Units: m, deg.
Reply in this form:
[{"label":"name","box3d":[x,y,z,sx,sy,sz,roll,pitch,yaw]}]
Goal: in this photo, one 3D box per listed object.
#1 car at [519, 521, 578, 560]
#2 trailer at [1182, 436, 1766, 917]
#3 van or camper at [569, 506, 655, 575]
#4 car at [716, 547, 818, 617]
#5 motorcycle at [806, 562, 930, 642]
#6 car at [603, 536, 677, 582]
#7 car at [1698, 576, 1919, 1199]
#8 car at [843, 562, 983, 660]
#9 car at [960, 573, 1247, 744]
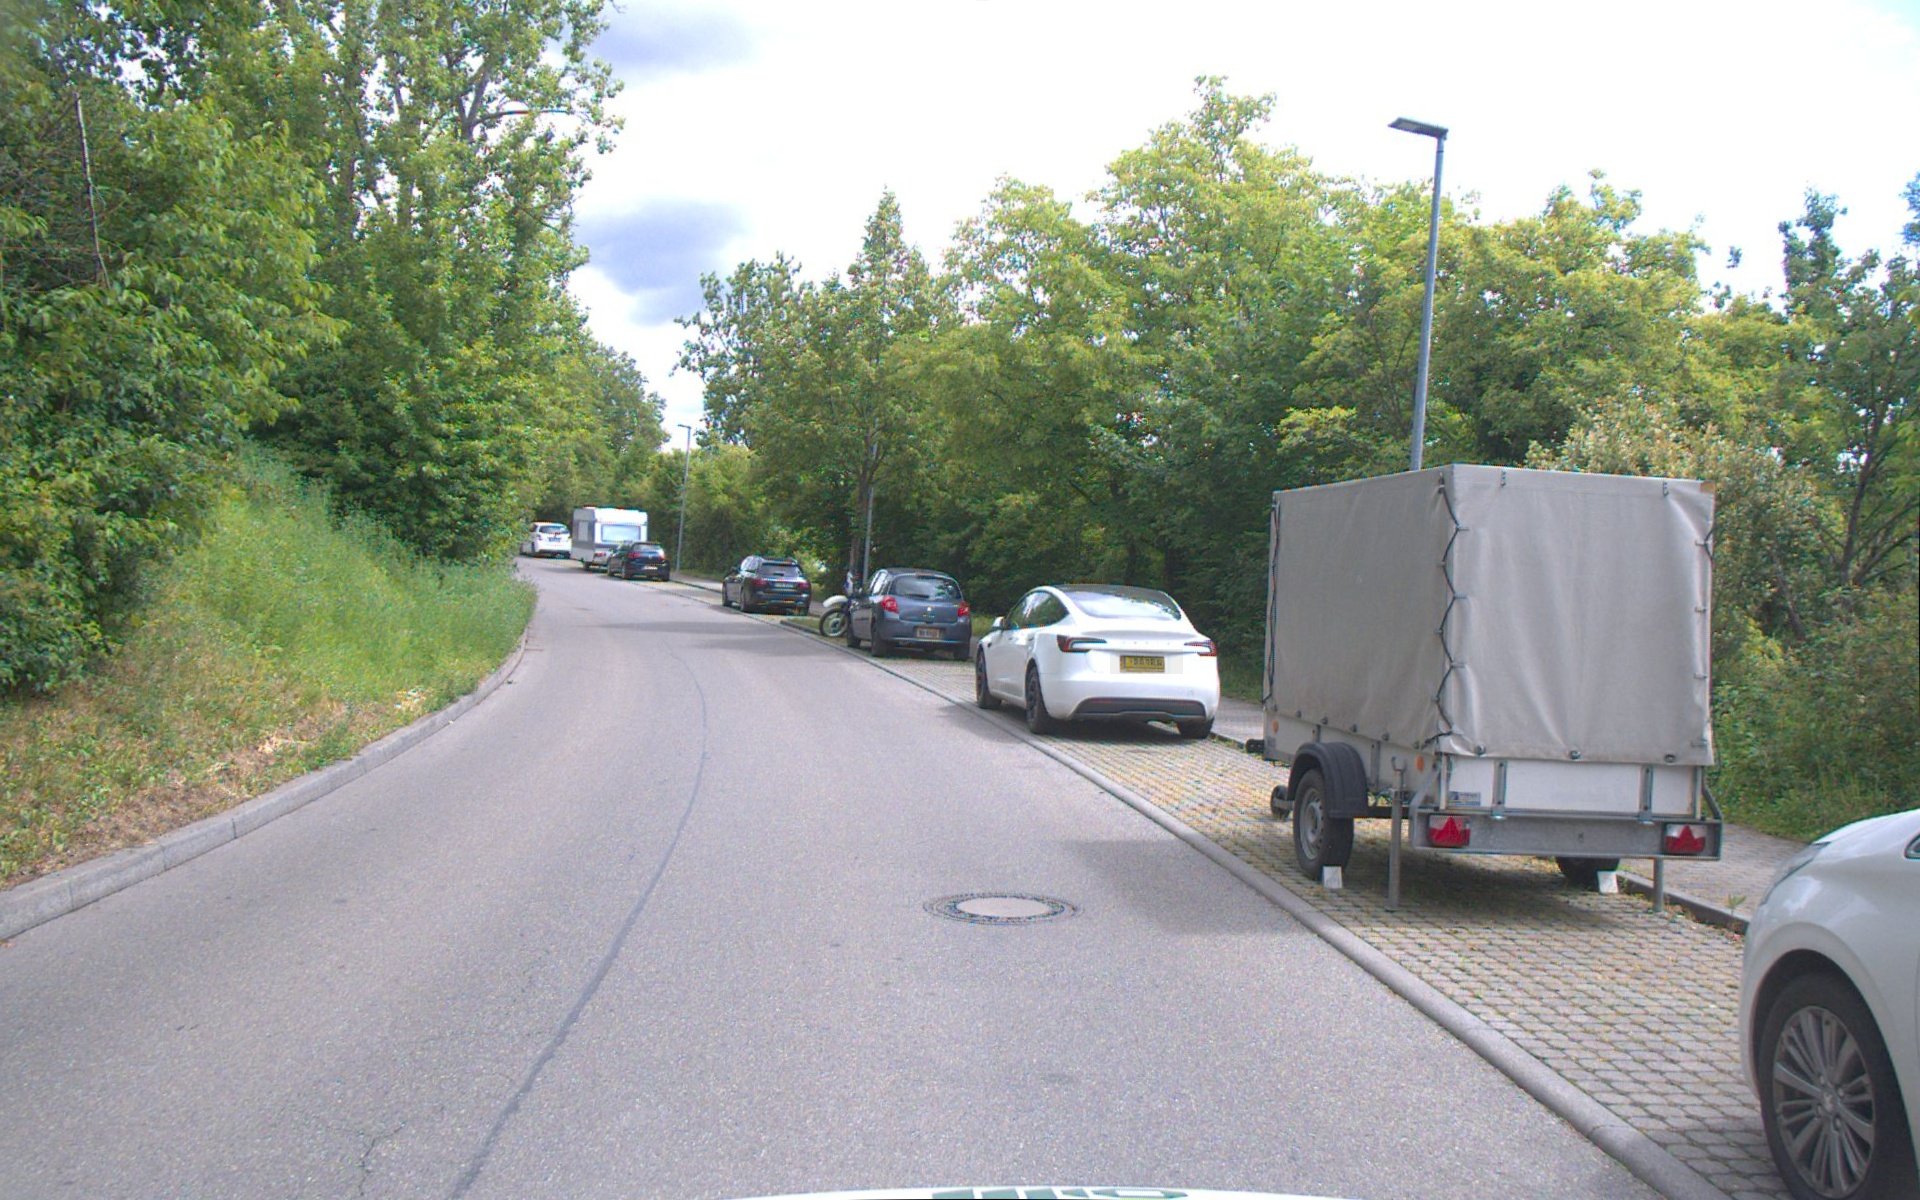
[{"label":"car","box3d":[-19.753,-2.887,79.300,1.783,1.627,4.336,2,3,-27]},{"label":"trailer","box3d":[2.568,0.341,9.270,1.697,2.114,3.777,1,0,-7]},{"label":"van or camper","box3d":[-14.288,-2.485,67.670,2.325,2.597,5.036,2,2,-25]},{"label":"car","box3d":[-5.233,-0.531,44.354,1.863,1.556,4.526,3,2,-17]},{"label":"motorcycle","box3d":[-1.818,0.021,32.972,2.256,1.501,0.976,2,1,11]},{"label":"car","box3d":[-12.134,-1.569,62.488,1.660,1.475,4.446,3,2,-25]},{"label":"car","box3d":[2.956,0.723,2.704,1.672,1.503,3.781,1,0,-2]},{"label":"car","box3d":[-0.910,0.143,29.343,1.738,1.544,4.096,3,1,-12]},{"label":"car","box3d":[1.345,0.514,17.791,1.829,1.502,4.890,1,1,-10]}]
